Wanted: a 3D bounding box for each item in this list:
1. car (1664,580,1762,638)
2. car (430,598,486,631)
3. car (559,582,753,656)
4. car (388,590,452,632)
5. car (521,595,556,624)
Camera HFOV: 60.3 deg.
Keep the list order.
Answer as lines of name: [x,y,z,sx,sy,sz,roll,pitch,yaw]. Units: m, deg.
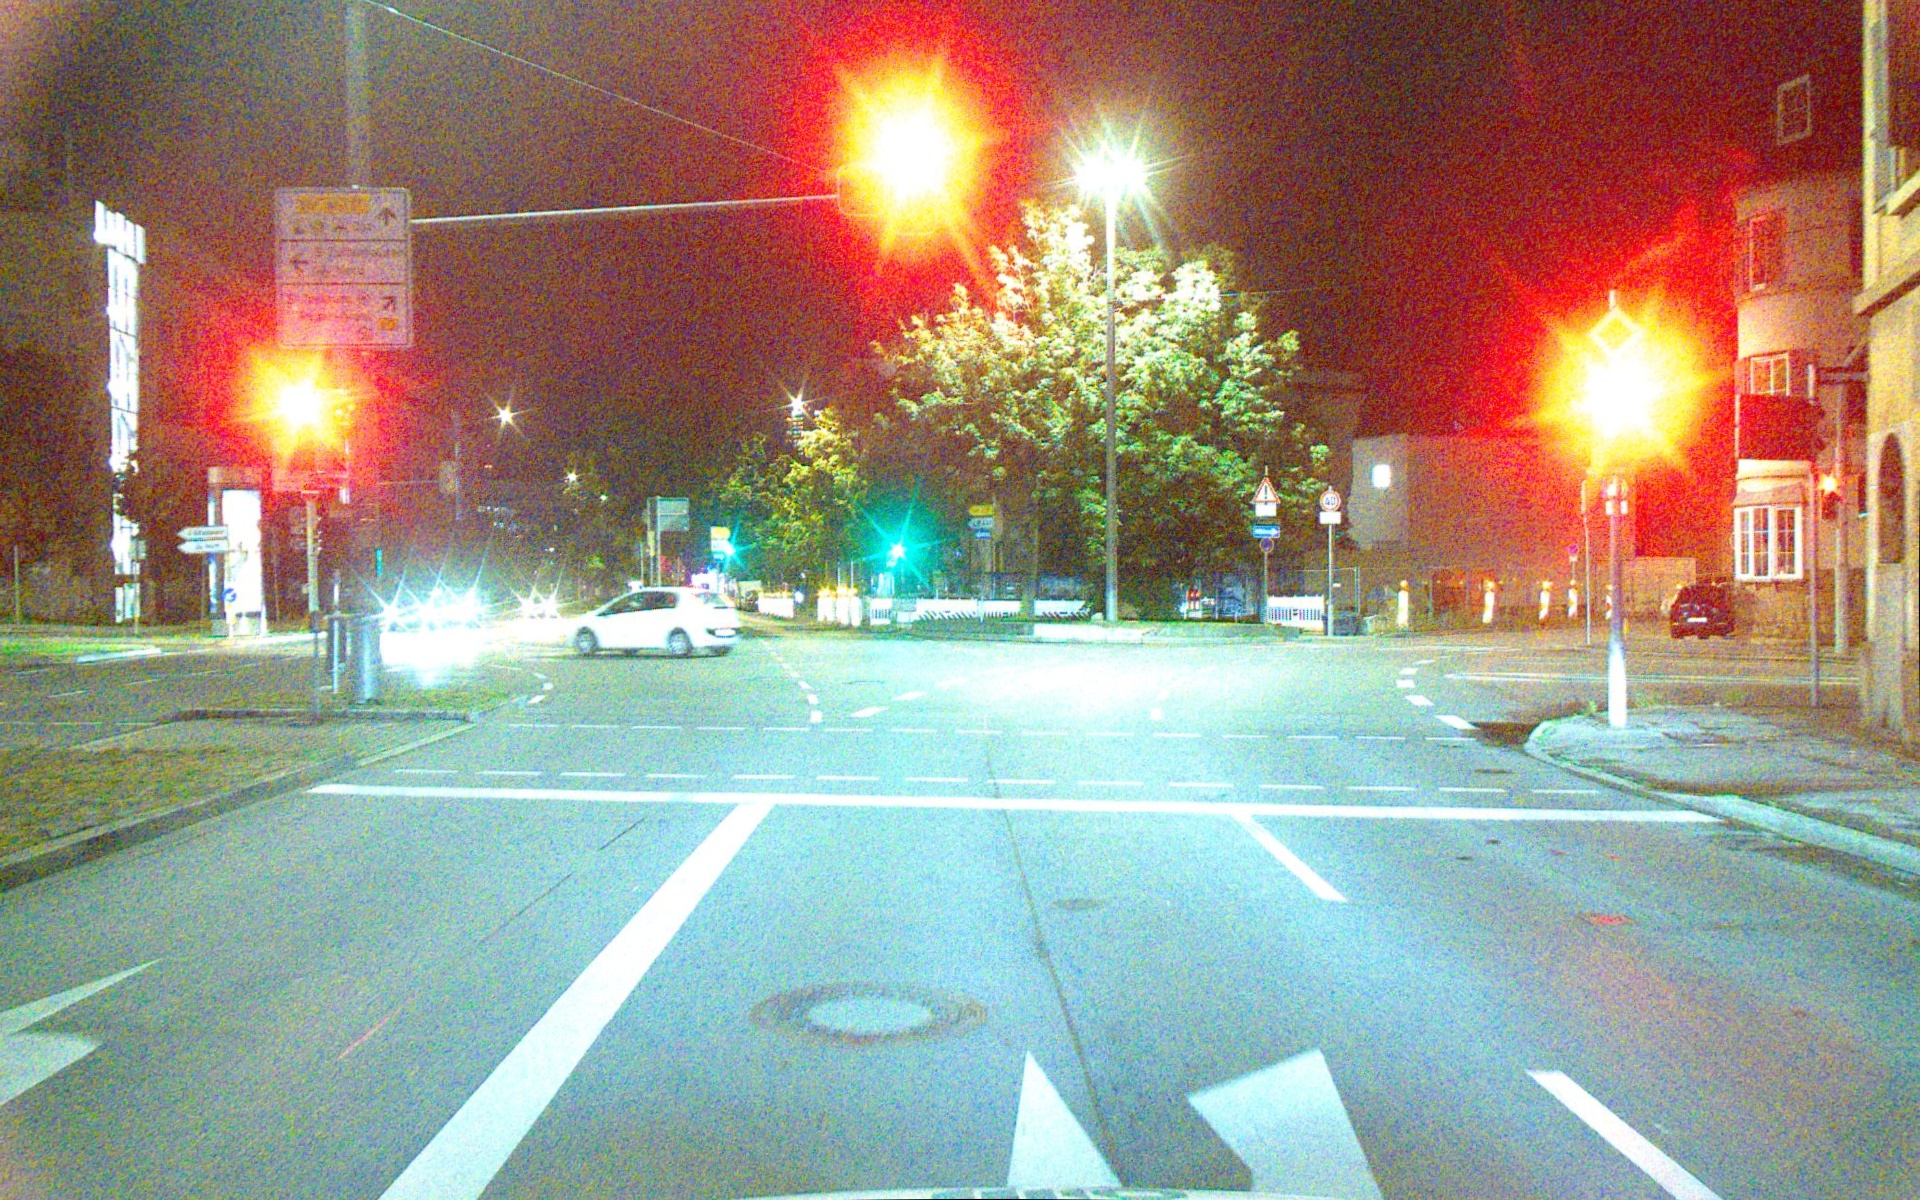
car: [21.870,0.258,47.988,1.701,1.640,3.604,-1,0,40]
car: [-20.999,0.603,69.319,1.725,1.345,3.541,0,0,-8]
car: [-6.589,0.409,35.832,3.908,1.517,1.707,0,0,26]
car: [-20.119,0.407,61.739,1.585,1.541,3.993,0,0,-8]
car: [-26.160,0.564,102.630,1.725,1.758,3.541,0,0,-8]
